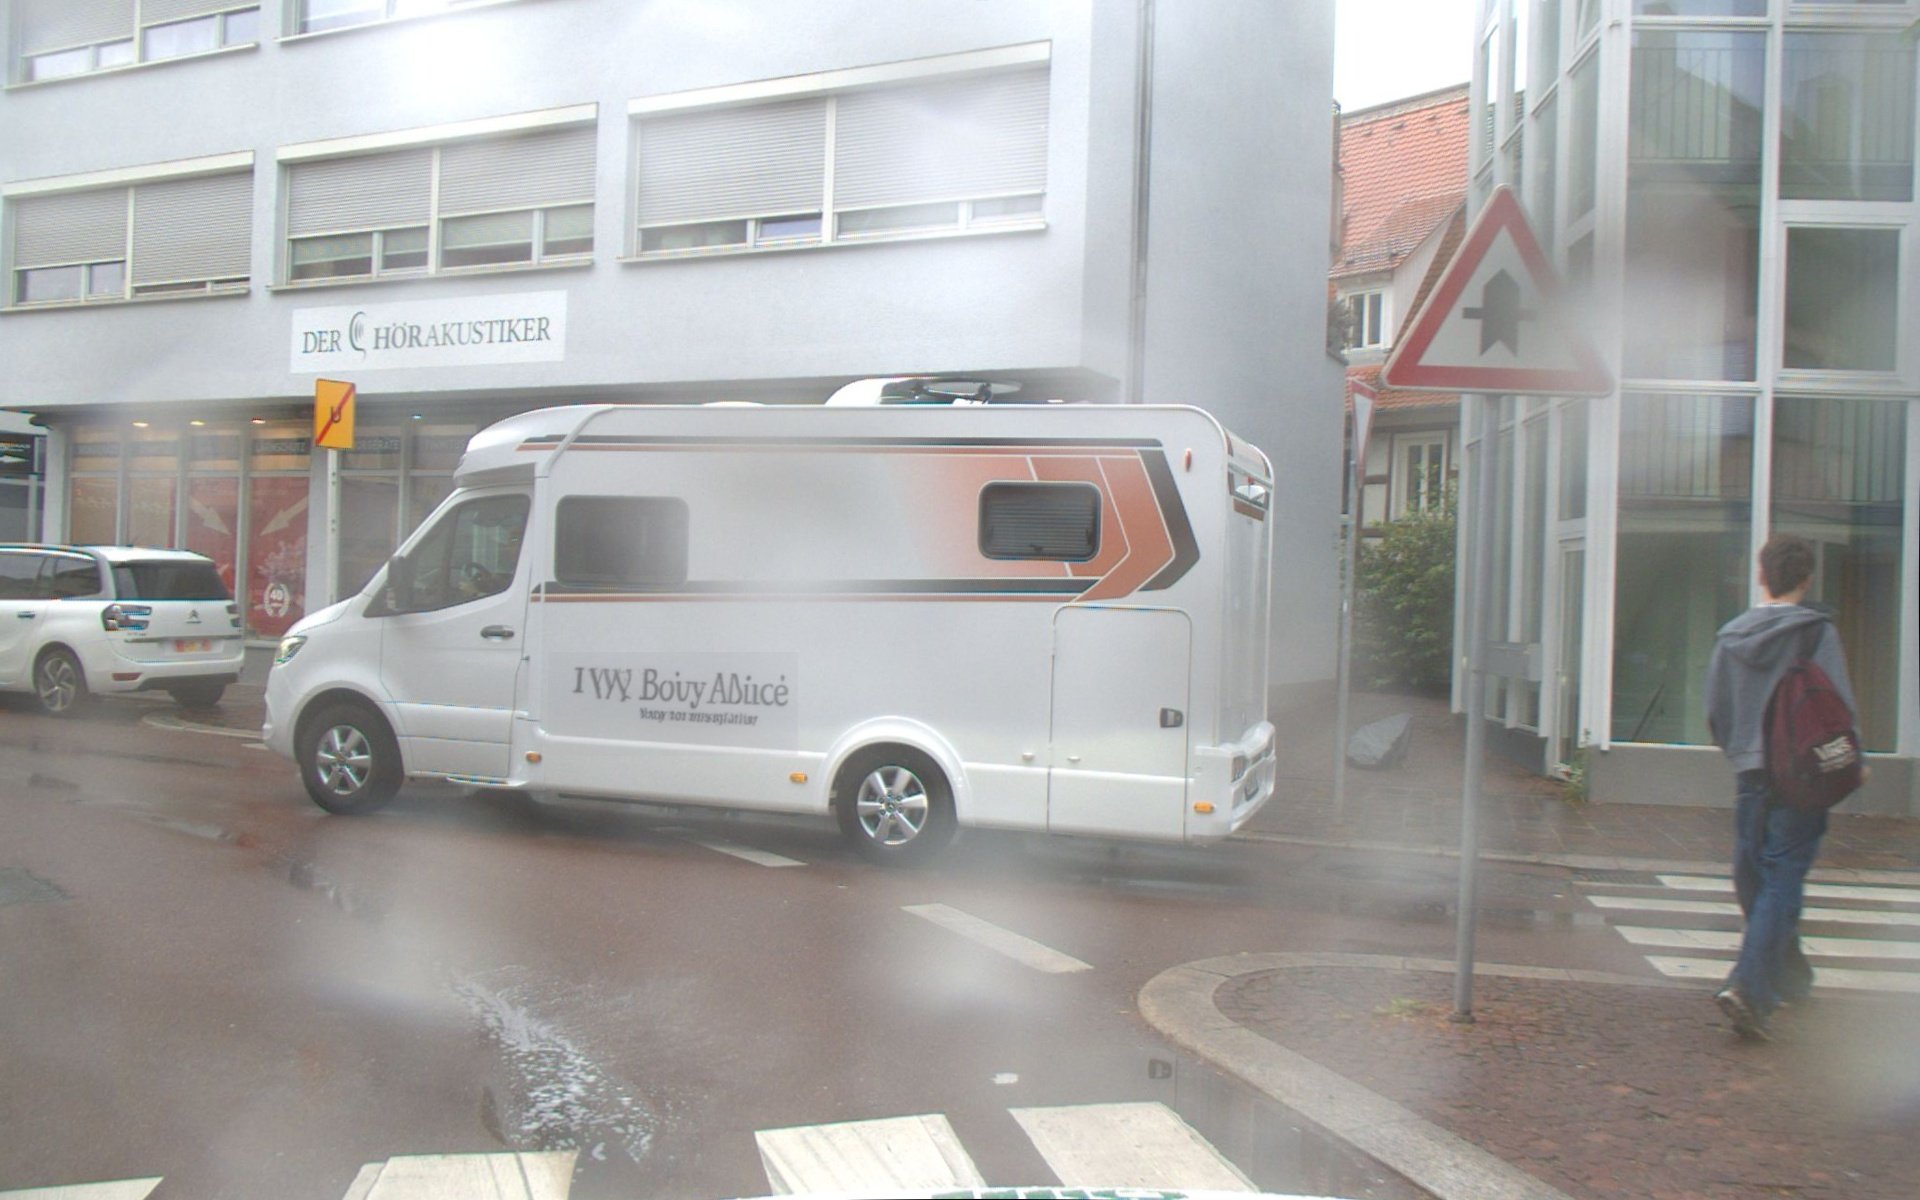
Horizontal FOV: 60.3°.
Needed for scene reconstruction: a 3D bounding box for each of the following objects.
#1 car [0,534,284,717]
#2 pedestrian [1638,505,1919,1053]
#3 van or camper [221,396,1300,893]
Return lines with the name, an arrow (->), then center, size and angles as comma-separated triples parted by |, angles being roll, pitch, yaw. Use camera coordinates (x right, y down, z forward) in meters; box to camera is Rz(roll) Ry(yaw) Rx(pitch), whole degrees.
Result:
car -> -9.374, 0.178, 17.115 | 4.364, 1.659, 1.781 | 3, 0, 22
pedestrian -> 3.079, 0.606, 6.159 | 0.682, 1.832, 1.052 | 1, -1, 42
van or camper -> -1.269, 0.155, 10.952 | 6.588, 2.631, 2.446 | 2, -1, 18
